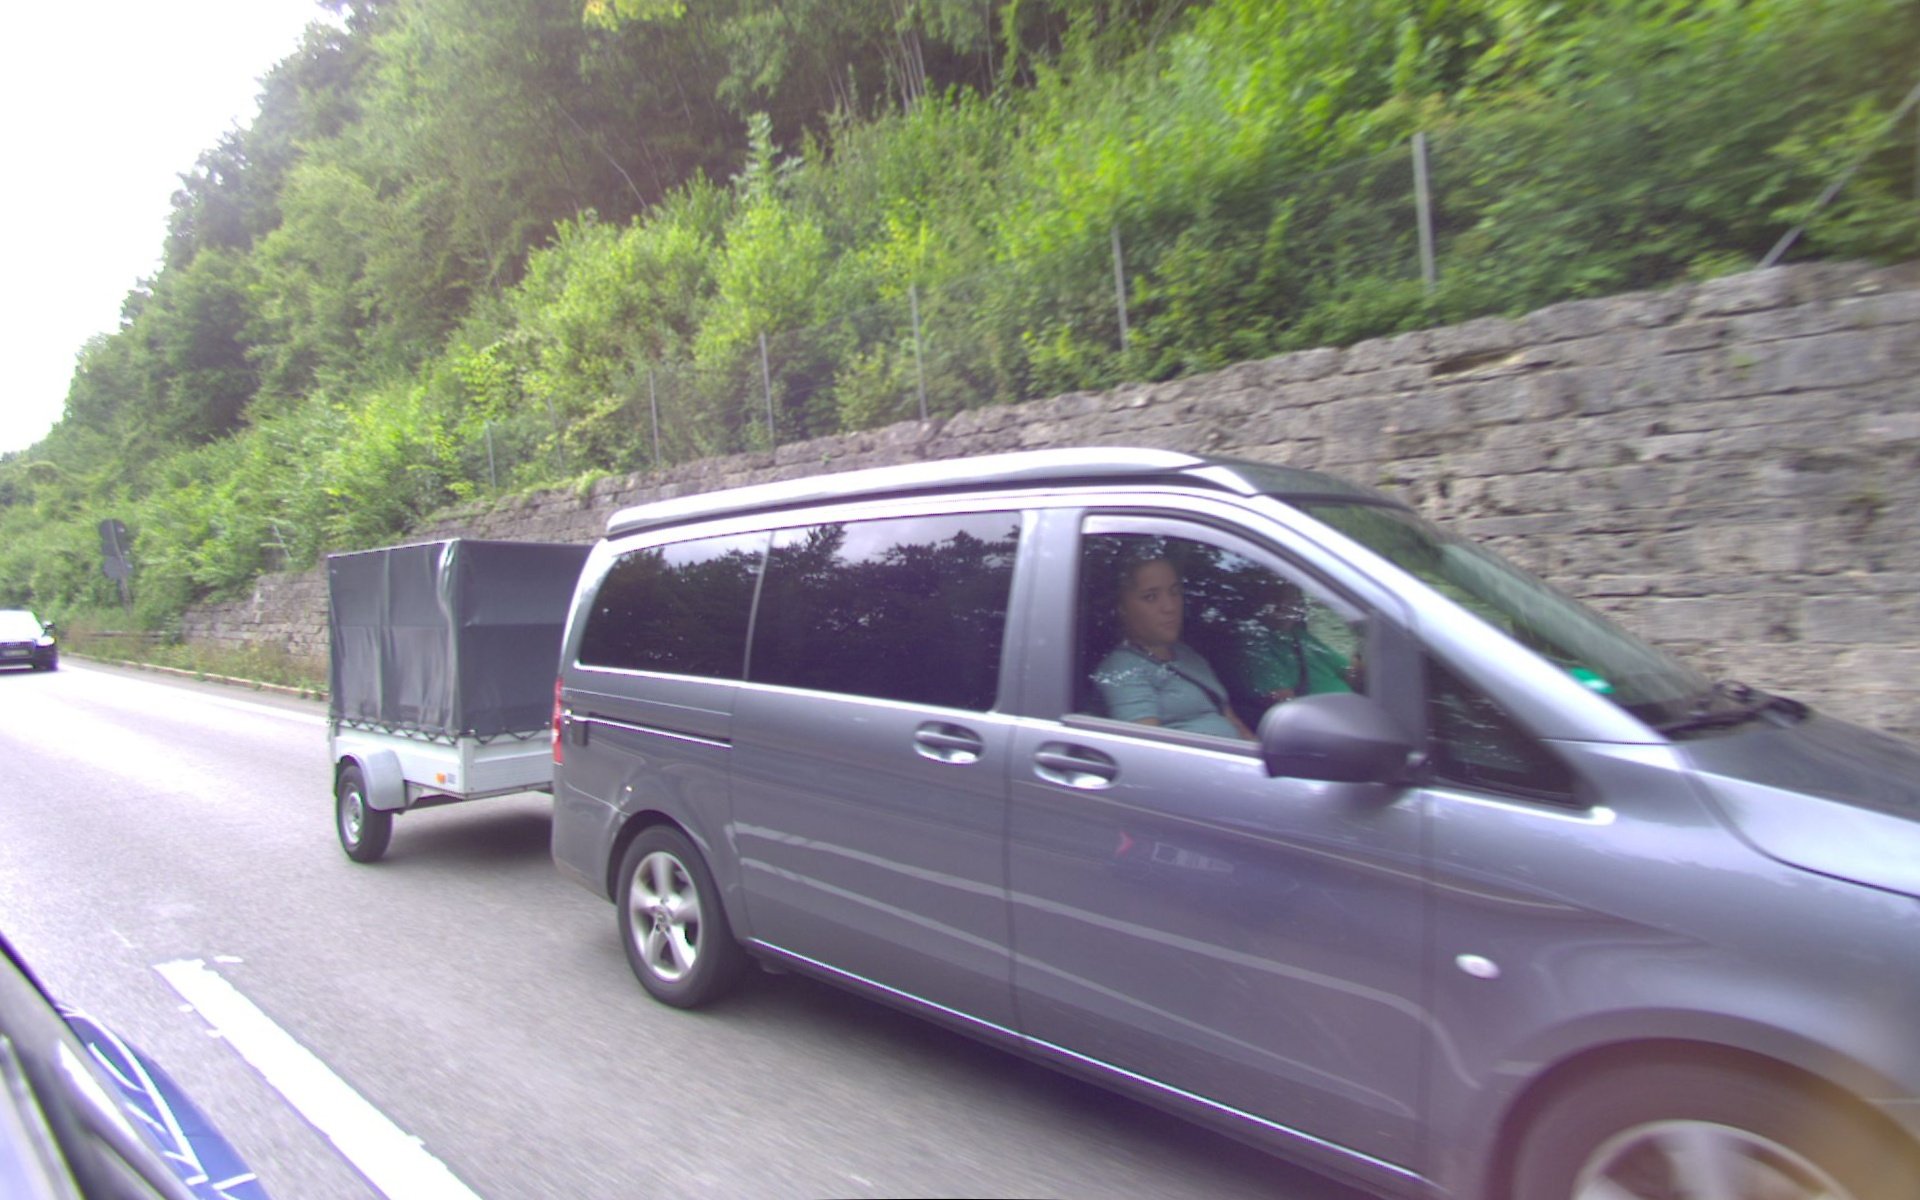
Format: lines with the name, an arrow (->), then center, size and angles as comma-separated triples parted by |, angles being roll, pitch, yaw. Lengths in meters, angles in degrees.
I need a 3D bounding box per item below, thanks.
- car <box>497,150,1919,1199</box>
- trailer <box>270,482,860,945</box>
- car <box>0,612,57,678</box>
car -> 0.741, 0.408, 3.309 | 5.536, 2.029, 1.973 | -2, -1, 41
trailer -> -2.511, 0.517, 6.142 | 3.428, 1.954, 1.951 | -2, -1, 41
car -> -26.701, 1.205, 27.957 | 5.584, 1.605, 1.950 | 0, 2, 42
